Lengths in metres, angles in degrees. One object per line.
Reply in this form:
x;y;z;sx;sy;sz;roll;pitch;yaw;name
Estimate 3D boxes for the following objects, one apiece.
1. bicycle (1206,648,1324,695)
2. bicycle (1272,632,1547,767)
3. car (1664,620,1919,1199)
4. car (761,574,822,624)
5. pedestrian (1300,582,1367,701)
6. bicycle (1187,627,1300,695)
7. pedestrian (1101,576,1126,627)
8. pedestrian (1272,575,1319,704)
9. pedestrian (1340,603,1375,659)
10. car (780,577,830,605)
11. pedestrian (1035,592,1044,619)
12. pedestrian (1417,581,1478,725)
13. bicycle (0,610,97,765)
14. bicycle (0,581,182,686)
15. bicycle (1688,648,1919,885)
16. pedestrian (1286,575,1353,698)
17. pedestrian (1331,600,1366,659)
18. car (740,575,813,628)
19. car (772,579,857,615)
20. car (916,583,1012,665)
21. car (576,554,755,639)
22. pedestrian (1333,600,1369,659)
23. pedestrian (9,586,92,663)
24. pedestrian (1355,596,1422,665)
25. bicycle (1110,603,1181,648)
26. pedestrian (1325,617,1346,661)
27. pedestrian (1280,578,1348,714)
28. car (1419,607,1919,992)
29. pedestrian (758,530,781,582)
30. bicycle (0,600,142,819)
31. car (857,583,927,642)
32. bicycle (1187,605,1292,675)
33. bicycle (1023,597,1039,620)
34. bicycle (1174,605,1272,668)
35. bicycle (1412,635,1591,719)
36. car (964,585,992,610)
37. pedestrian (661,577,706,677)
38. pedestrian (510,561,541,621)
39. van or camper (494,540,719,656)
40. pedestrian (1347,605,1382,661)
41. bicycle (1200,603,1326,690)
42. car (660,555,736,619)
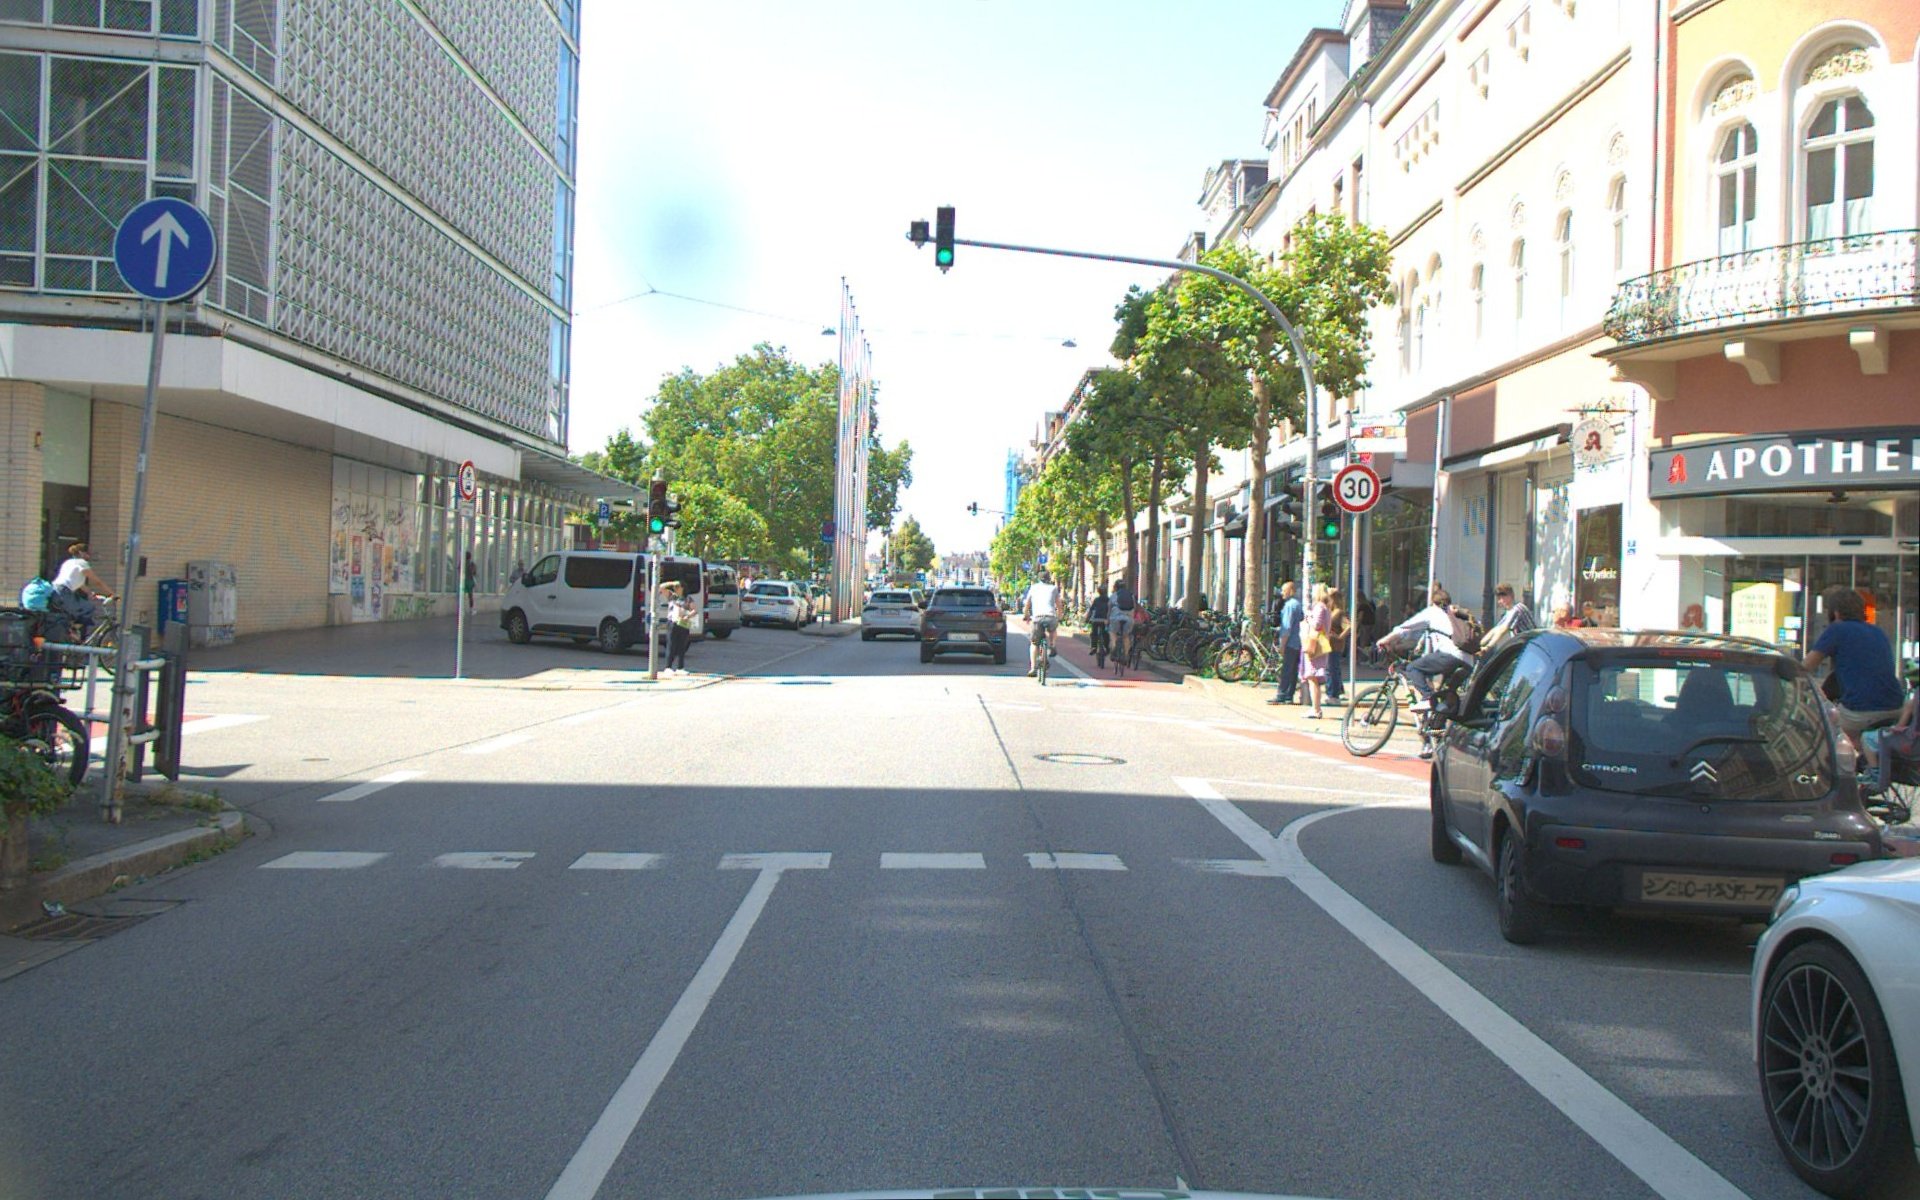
5.271;1.246;28.719;1.123;0.441;1.842;-10;-4;-26;bicycle
4.402;0.942;16.325;2.519;1.146;0.626;2;0;32;bicycle
3.335;0.868;2.958;1.913;1.449;4.885;3;0;-1;car
-5.988;-0.054;59.142;1.725;1.628;4.709;2;0;-1;car
5.519;0.604;24.484;0.771;1.720;0.641;2;0;-3;pedestrian
5.045;1.094;29.520;1.814;0.401;1.024;10;-35;4;bicycle
5.407;0.054;58.324;0.626;1.718;0.843;4;1;-3;pedestrian
4.849;0.564;23.944;0.443;1.826;0.607;3;0;-3;pedestrian
9.202;0.723;38.280;0.667;1.275;0.531;0;0;-3;pedestrian
-11.830;-0.704;126.475;1.821;1.989;4.761;2;0;21;car
5.040;0.347;104.344;0.537;1.659;0.589;0;-1;3;pedestrian
6.588;0.708;22.373;0.625;1.875;0.615;3;-1;11;pedestrian
-8.047;0.657;13.181;1.944;1.146;0.800;2;1;7;bicycle
-11.477;0.408;21.714;0.723;1.289;2.198;1;2;42;bicycle
5.973;1.052;11.176;0.719;1.291;2.276;2;1;-11;bicycle
5.472;0.544;25.195;0.771;1.826;0.641;3;0;-3;pedestrian
9.251;0.700;39.422;0.667;1.356;0.531;2;0;-3;pedestrian
-5.877;0.007;53.345;1.762;1.549;4.739;3;1;0;car
-7.019;-0.157;80.350;1.854;1.568;4.857;3;2;26;car
0.030;0.455;34.429;1.808;1.586;3.998;1;0;-2;car
-7.470;-0.115;41.833;4.359;1.943;2.001;3;1;37;car
9.174;0.693;38.824;0.667;1.361;0.531;1;0;-3;pedestrian
-13.680;0.357;24.894;0.707;1.075;0.841;5;0;-2;pedestrian
9.183;0.649;35.502;1.208;1.447;0.789;1;-1;-3;pedestrian
4.987;0.689;44.609;1.802;1.112;0.564;3;0;0;bicycle
8.586;0.881;37.797;0.357;0.985;0.437;2;0;1;pedestrian
4.622;0.603;21.659;0.626;1.739;0.789;-1;-2;-4;pedestrian
3.494;0.845;8.686;1.594;1.504;3.734;2;-1;9;car
-6.779;-1.562;58.906;0.522;1.824;0.536;2;-2;39;pedestrian
-5.786;0.621;10.282;0.601;1.193;2.030;3;-1;-45;bicycle
-1.907;0.326;47.616;1.808;1.587;4.000;1;0;0;car
5.121;0.725;30.321;1.801;1.146;0.346;4;1;15;bicycle
3.311;0.383;77.520;0.634;1.015;2.031;1;0;0;bicycle
5.018;0.701;31.632;1.801;1.146;0.667;1;-1;7;bicycle
5.920;0.833;18.125;1.784;0.859;0.501;1;0;0;bicycle
1.323;-0.187;121.547;1.808;1.697;3.999;3;0;-1;car
-4.535;0.441;27.120;0.628;1.586;0.679;3;0;-12;pedestrian
-11.660;-0.253;44.363;0.665;1.586;0.640;1;0;-5;pedestrian
-7.219;-0.072;33.573;4.574;2.048;1.990;4;1;39;van or camper
9.216;0.746;37.682;0.626;1.275;0.608;0;-1;-3;pedestrian
4.893;0.727;26.787;1.822;1.209;0.713;6;4;38;bicycle
-8.931;-0.454;56.799;1.794;2.049;4.685;2;0;0;car
